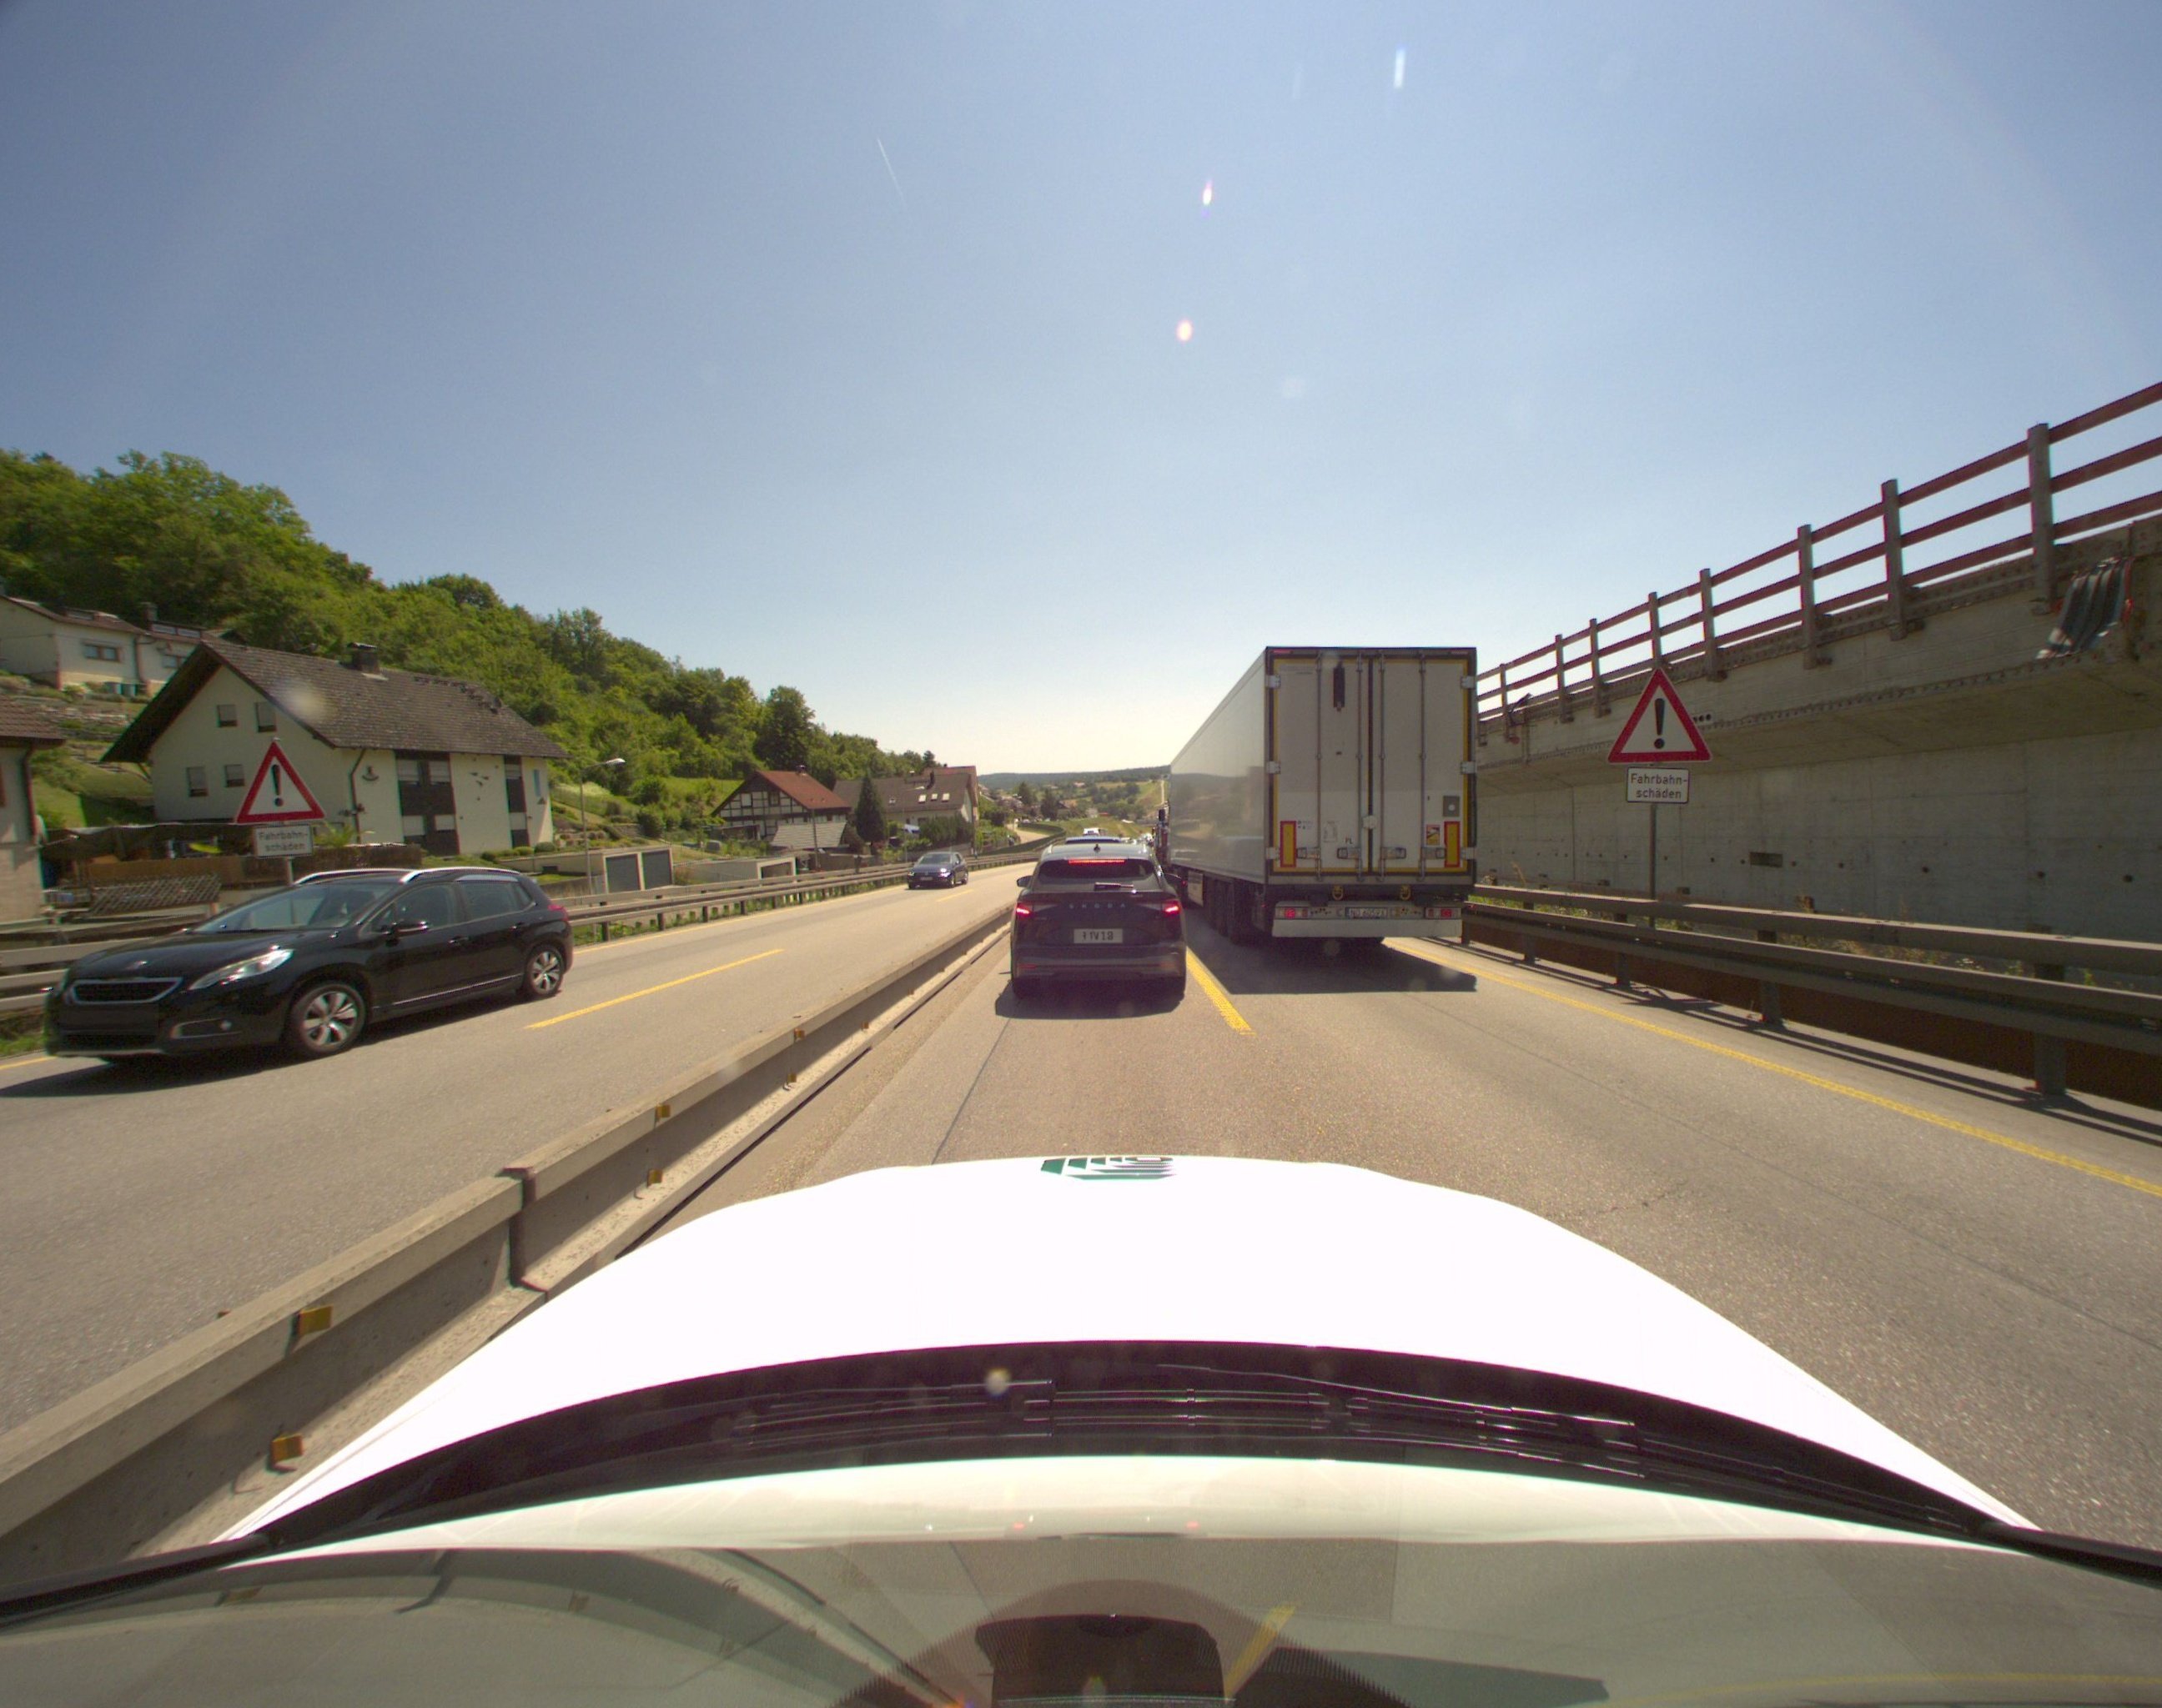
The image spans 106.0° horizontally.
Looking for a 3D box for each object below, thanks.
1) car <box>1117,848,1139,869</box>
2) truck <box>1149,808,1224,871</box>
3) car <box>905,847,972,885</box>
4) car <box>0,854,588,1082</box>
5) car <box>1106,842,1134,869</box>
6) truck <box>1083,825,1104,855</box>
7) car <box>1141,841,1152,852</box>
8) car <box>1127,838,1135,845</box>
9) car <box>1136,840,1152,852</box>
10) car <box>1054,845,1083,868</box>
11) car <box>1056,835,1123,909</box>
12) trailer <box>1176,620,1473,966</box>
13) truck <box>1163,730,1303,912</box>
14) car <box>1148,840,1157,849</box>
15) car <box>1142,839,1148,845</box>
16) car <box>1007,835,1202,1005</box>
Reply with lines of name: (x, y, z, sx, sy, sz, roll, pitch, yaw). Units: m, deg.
car: (3.855, 0.330, 67.497, 1.700, 1.622, 4.002, 0, 1, 1)
truck: (5.967, -0.718, 48.367, 3.183, 3.191, 12.813, -1, 0, 2)
car: (-5.882, 0.502, 34.176, 1.834, 1.418, 4.688, -2, 0, 2)
car: (-6.920, 0.830, 7.879, 1.726, 1.489, 4.002, -1, 2, 2)
car: (2.389, 0.047, 50.575, 1.700, 1.622, 4.002, 0, 1, 1)
truck: (1.900, -2.067, 119.805, 2.739, 4.283, 4.964, 0, 1, 5)
car: (10.671, -1.275, 132.043, 1.692, 1.728, 3.843, 0, 0, 6)
car: (11.778, -2.973, 192.349, 1.694, 1.728, 3.838, 0, 0, 2)
car: (8.175, -1.042, 105.977, 1.985, 1.585, 3.838, 0, 0, 2)
car: (-0.843, 0.151, 55.661, 1.712, 1.408, 4.003, -2, 1, 2)
car: (0.163, 0.410, 22.802, 1.702, 1.881, 3.997, 0, 1, -2)
trailer: (3.577, -0.689, 15.493, 2.522, 4.127, 11.552, 0, 0, 2)
truck: (3.783, -0.703, 22.199, 2.504, 4.025, 8.240, 0, 0, 2)
car: (14.796, -1.993, 169.002, 1.692, 1.728, 3.843, 0, 0, 6)
car: (17.630, -3.327, 224.064, 1.692, 1.728, 3.843, 0, 0, 6)
car: (0.164, 0.631, 9.619, 1.838, 1.586, 3.904, 0, 0, -2)
